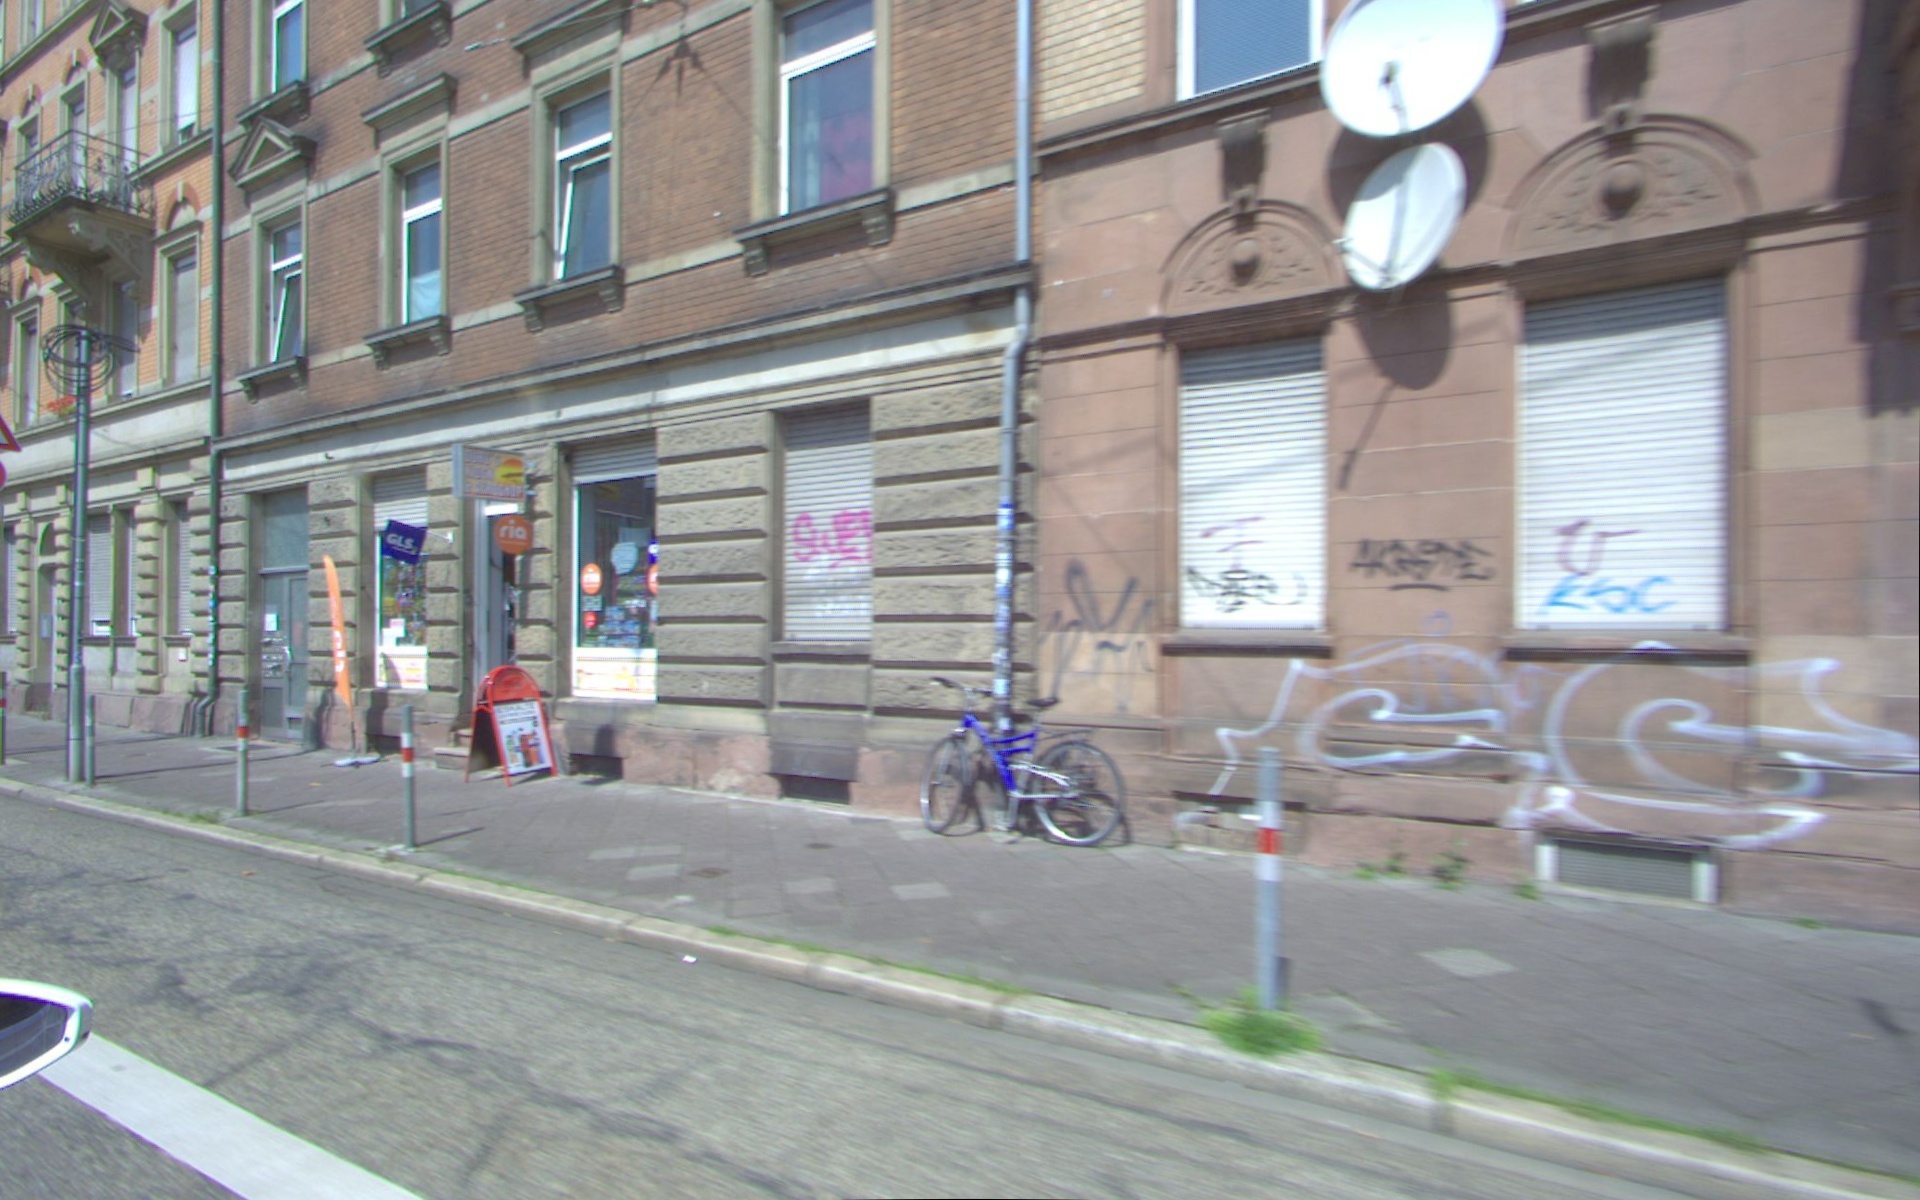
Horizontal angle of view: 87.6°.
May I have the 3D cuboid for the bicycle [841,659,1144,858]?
[{"bbox_3d":[0.180,1.044,7.132,2.173,1.193,0.585,-1,-1,33],"label":"bicycle"}]
